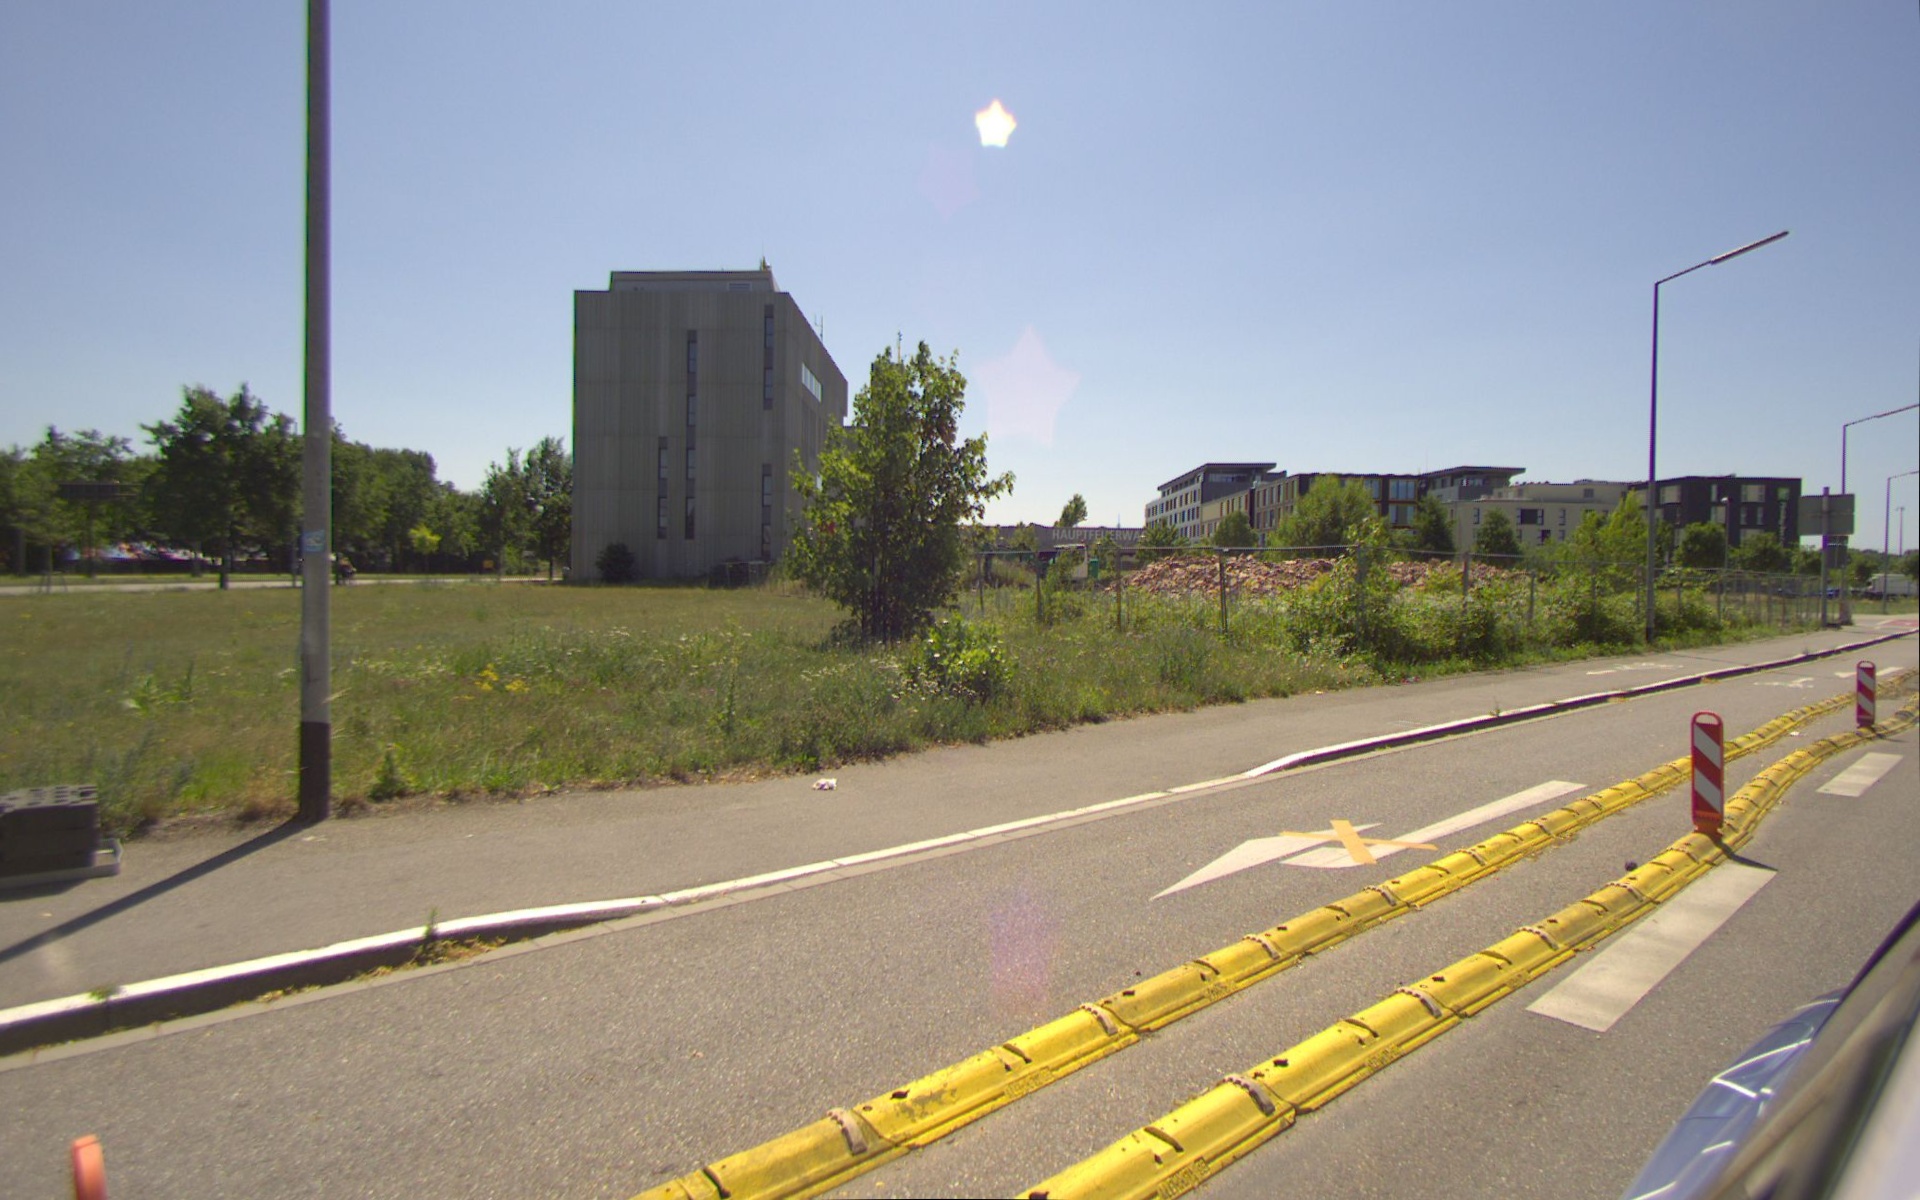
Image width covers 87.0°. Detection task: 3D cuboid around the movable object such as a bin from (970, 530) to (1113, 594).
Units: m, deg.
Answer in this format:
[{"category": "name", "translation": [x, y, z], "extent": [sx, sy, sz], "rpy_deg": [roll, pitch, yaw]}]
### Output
[{"category": "movable object such as a bin", "translation": [4.393, -1.957, 53.932], "extent": [7.459, 3.188, 2.815], "rpy_deg": [-1, 1, -34]}]
